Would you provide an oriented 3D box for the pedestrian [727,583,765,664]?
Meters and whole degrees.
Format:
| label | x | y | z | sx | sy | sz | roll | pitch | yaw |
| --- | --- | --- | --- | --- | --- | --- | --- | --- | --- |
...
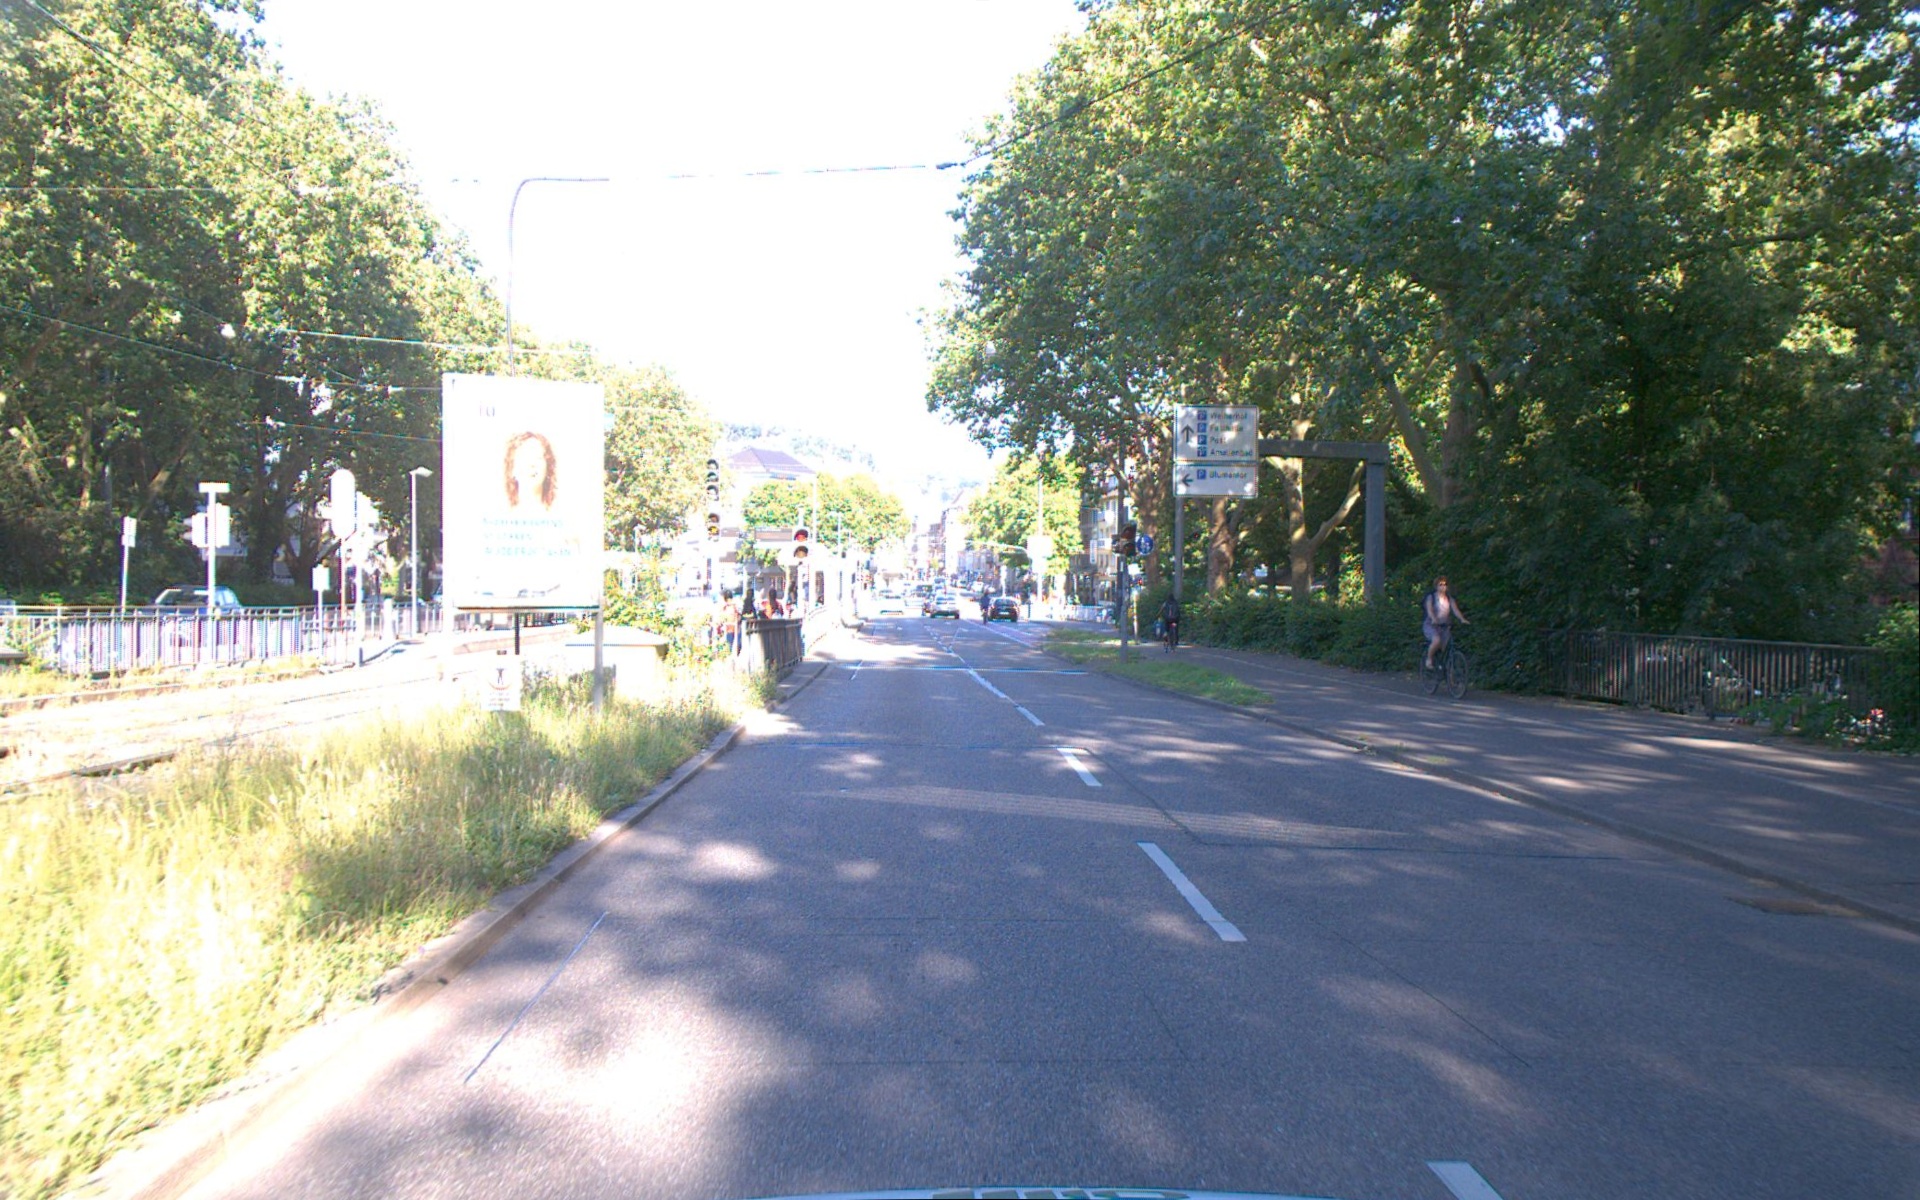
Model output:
| label | x | y | z | sx | sy | sz | roll | pitch | yaw |
| --- | --- | --- | --- | --- | --- | --- | --- | --- | --- |
| pedestrian | -4.269 | 0.459 | 32.956 | 0.510 | 1.595 | 0.507 | -2 | 0 | 27 |

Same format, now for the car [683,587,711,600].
| label | x | y | z | sx | sy | sz | roll | pitch | yaw |
| --- | --- | --- | --- | --- | --- | --- | --- | --- | --- |
| car | -31.150 | -0.780 | 196.255 | 1.756 | 1.536 | 4.013 | 1 | 0 | 16 |

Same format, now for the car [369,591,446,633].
| label | x | y | z | sx | sy | sz | roll | pitch | yaw |
| --- | --- | --- | --- | --- | --- | --- | --- | --- | --- |
| car | -21.427 | 0.473 | 64.312 | 1.759 | 1.537 | 4.337 | -1 | 0 | -4 |

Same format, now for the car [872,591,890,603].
| label | x | y | z | sx | sy | sz | roll | pitch | yaw |
| --- | --- | --- | --- | --- | --- | --- | --- | --- | --- |
| car | -9.960 | -0.392 | 209.425 | 1.756 | 1.537 | 4.002 | 0 | 0 | 4 |

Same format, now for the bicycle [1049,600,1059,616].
| label | x | y | z | sx | sy | sz | roll | pitch | yaw |
| --- | --- | --- | --- | --- | --- | --- | --- | --- | --- |
| bicycle | 6.740 | 0.585 | 118.637 | 0.488 | 1.093 | 1.799 | 1 | -1 | -3 |

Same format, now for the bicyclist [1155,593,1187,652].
| label | x | y | z | sx | sy | sz | roll | pitch | yaw |
| --- | --- | --- | --- | --- | --- | --- | --- | --- | --- |
| bicyclist | 5.585 | 0.590 | 43.818 | 0.751 | 1.539 | 0.650 | 0 | 0 | -3 |

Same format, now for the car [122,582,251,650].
| label | x | y | z | sx | sy | sz | roll | pitch | yaw |
| --- | --- | --- | --- | --- | --- | --- | --- | --- | --- |
| car | -20.675 | 0.418 | 44.376 | 1.866 | 1.681 | 3.968 | -1 | 0 | -6 |

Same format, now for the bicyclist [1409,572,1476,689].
| label | x | y | z | sx | sy | sz | roll | pitch | yaw |
| --- | --- | --- | --- | --- | --- | --- | --- | --- | --- |
| bicyclist | 7.389 | 0.458 | 25.376 | 0.685 | 1.758 | 1.079 | 0 | 0 | -2 |

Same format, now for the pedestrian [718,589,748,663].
| label | x | y | z | sx | sy | sz | roll | pitch | yaw |
| --- | --- | --- | --- | --- | --- | --- | --- | --- | --- |
| pedestrian | -4.714 | 0.538 | 34.371 | 0.509 | 1.498 | 0.514 | -2 | 0 | -2 |

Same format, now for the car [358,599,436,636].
| label | x | y | z | sx | sy | sz | roll | pitch | yaw |
| --- | --- | --- | --- | --- | --- | --- | --- | --- | --- |
| car | -21.354 | 0.641 | 62.876 | 1.735 | 1.314 | 4.311 | -1 | 0 | -4 |

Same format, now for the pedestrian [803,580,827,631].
| label | x | y | z | sx | sy | sz | roll | pitch | yaw |
| --- | --- | --- | --- | --- | --- | --- | --- | --- | --- |
| pedestrian | -5.017 | 0.186 | 57.179 | 0.727 | 1.724 | 0.791 | 2 | 0 | -2 |

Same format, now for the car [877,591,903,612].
| label | x | y | z | sx | sy | sz | roll | pitch | yaw |
| --- | --- | --- | --- | --- | --- | --- | --- | --- | --- |
| car | -4.973 | 0.095 | 116.771 | 1.772 | 1.478 | 3.997 | 1 | 0 | -3 |

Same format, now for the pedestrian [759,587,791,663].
| label | x | y | z | sx | sy | sz | roll | pitch | yaw |
| --- | --- | --- | --- | --- | --- | --- | --- | --- | --- |
| pedestrian | -3.802 | 0.508 | 34.049 | 0.578 | 1.546 | 0.514 | -2 | 0 | -2 |

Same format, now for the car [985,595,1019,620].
| label | x | y | z | sx | sy | sz | roll | pitch | yaw |
| --- | --- | --- | --- | --- | --- | --- | --- | --- | --- |
| car | 2.602 | 0.448 | 102.940 | 1.764 | 1.464 | 4.043 | 2 | 0 | -3 |

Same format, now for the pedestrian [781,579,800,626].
| label | x | y | z | sx | sy | sz | roll | pitch | yaw |
| --- | --- | --- | --- | --- | --- | --- | --- | --- | --- |
| pedestrian | -5.851 | 0.096 | 57.114 | 0.576 | 1.594 | 0.650 | 2 | 0 | -2 |

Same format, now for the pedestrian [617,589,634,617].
| label | x | y | z | sx | sy | sz | roll | pitch | yaw |
| --- | --- | --- | --- | --- | --- | --- | --- | --- | --- |
| pedestrian | -16.072 | 0.144 | 79.506 | 0.656 | 1.348 | 0.756 | -2 | 0 | -4 |

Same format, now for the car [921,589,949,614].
| label | x | y | z | sx | sy | sz | roll | pitch | yaw |
| --- | --- | --- | --- | --- | --- | --- | --- | --- | --- |
| car | -1.739 | 0.064 | 115.193 | 1.764 | 1.666 | 4.043 | 1 | 0 | -3 |

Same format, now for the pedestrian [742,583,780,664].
| label | x | y | z | sx | sy | sz | roll | pitch | yaw |
| --- | --- | --- | --- | --- | --- | --- | --- | --- | --- |
| pedestrian | -4.012 | 0.469 | 33.375 | 0.510 | 1.595 | 0.507 | -2 | 0 | 27 |

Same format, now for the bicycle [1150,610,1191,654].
| label | x | y | z | sx | sy | sz | roll | pitch | yaw |
| --- | --- | --- | --- | --- | --- | --- | --- | --- | --- |
| bicycle | 5.585 | 0.834 | 43.956 | 0.751 | 1.127 | 1.799 | 0 | 0 | -3 |

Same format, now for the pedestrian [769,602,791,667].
| label | x | y | z | sx | sy | sz | roll | pitch | yaw |
| --- | --- | --- | --- | --- | --- | --- | --- | --- | --- |
| pedestrian | -3.756 | 0.720 | 34.526 | 0.407 | 1.344 | 0.359 | -2 | 0 | -2 |

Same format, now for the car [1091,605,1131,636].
| label | x | y | z | sx | sy | sz | roll | pitch | yaw |
| --- | --- | --- | --- | --- | --- | --- | --- | --- | --- |
| car | 9.685 | 1.290 | 106.381 | 1.759 | 1.931 | 4.355 | 1 | -1 | -5 |

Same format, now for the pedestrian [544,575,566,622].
| label | x | y | z | sx | sy | sz | roll | pitch | yaw |
| --- | --- | --- | --- | --- | --- | --- | --- | --- | --- |
| pedestrian | -15.638 | -0.067 | 63.828 | 0.635 | 1.803 | 0.650 | 1 | -1 | 0 |

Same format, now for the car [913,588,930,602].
| label | x | y | z | sx | sy | sz | roll | pitch | yaw |
| --- | --- | --- | --- | --- | --- | --- | --- | --- | --- |
| car | -5.228 | -0.688 | 225.146 | 1.756 | 1.858 | 4.003 | 0 | 0 | 8 |

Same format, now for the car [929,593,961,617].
| label | x | y | z | sx | sy | sz | roll | pitch | yaw |
| --- | --- | --- | --- | --- | --- | --- | --- | --- | --- |
| car | -0.970 | 0.326 | 107.792 | 1.890 | 1.498 | 4.852 | 1 | 0 | -3 |

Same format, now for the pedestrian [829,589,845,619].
| label | x | y | z | sx | sy | sz | roll | pitch | yaw |
| --- | --- | --- | --- | --- | --- | --- | --- | --- | --- |
| pedestrian | -5.598 | 0.192 | 75.387 | 0.665 | 1.331 | 0.593 | 1 | 0 | -2 |

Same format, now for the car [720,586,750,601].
| label | x | y | z | sx | sy | sz | roll | pitch | yaw |
| --- | --- | --- | --- | --- | --- | --- | --- | --- | --- |
| car | -26.307 | -0.781 | 193.766 | 1.881 | 1.677 | 4.182 | 1 | 0 | 18 |

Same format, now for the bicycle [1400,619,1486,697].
| label | x | y | z | sx | sy | sz | roll | pitch | yaw |
| --- | --- | --- | --- | --- | --- | --- | --- | --- | --- |
| bicycle | 7.385 | 0.868 | 25.374 | 0.685 | 1.127 | 1.929 | 0 | 0 | -2 |

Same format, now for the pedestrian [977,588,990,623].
| label | x | y | z | sx | sy | sz | roll | pitch | yaw |
| --- | --- | --- | --- | --- | --- | --- | --- | --- | --- |
| pedestrian | 1.314 | 0.303 | 92.787 | 0.644 | 1.903 | 0.677 | 0 | 0 | -3 |

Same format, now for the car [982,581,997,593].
| label | x | y | z | sx | sy | sz | roll | pitch | yaw |
| --- | --- | --- | --- | --- | --- | --- | --- | --- | --- |
| car | 4.606 | -2.073 | 261.914 | 2.063 | 1.807 | 4.339 | 0 | 0 | -3 |

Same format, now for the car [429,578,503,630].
| label | x | y | z | sx | sy | sz | roll | pitch | yaw |
| --- | --- | --- | --- | --- | --- | --- | --- | --- | --- |
| car | -21.748 | 0.188 | 73.029 | 2.026 | 2.161 | 5.085 | -1 | 0 | -4 |

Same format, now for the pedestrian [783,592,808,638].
| label | x | y | z | sx | sy | sz | roll | pitch | yaw |
| --- | --- | --- | --- | --- | --- | --- | --- | --- | --- |
| pedestrian | -6.271 | 0.569 | 63.012 | 0.647 | 1.752 | 0.701 | 2 | 0 | -38 |

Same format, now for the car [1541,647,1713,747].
| label | x | y | z | sx | sy | sz | roll | pitch | yaw |
| --- | --- | --- | --- | --- | --- | --- | --- | --- | --- |
| car | 14.213 | 2.021 | 35.511 | 1.865 | 1.844 | 4.097 | 2 | 0 | -3 |

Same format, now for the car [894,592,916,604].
| label | x | y | z | sx | sy | sz | roll | pitch | yaw |
| --- | --- | --- | --- | --- | --- | --- | --- | --- | --- |
| car | -7.211 | -0.312 | 217.623 | 1.756 | 1.537 | 4.002 | 0 | 0 | 16 |
